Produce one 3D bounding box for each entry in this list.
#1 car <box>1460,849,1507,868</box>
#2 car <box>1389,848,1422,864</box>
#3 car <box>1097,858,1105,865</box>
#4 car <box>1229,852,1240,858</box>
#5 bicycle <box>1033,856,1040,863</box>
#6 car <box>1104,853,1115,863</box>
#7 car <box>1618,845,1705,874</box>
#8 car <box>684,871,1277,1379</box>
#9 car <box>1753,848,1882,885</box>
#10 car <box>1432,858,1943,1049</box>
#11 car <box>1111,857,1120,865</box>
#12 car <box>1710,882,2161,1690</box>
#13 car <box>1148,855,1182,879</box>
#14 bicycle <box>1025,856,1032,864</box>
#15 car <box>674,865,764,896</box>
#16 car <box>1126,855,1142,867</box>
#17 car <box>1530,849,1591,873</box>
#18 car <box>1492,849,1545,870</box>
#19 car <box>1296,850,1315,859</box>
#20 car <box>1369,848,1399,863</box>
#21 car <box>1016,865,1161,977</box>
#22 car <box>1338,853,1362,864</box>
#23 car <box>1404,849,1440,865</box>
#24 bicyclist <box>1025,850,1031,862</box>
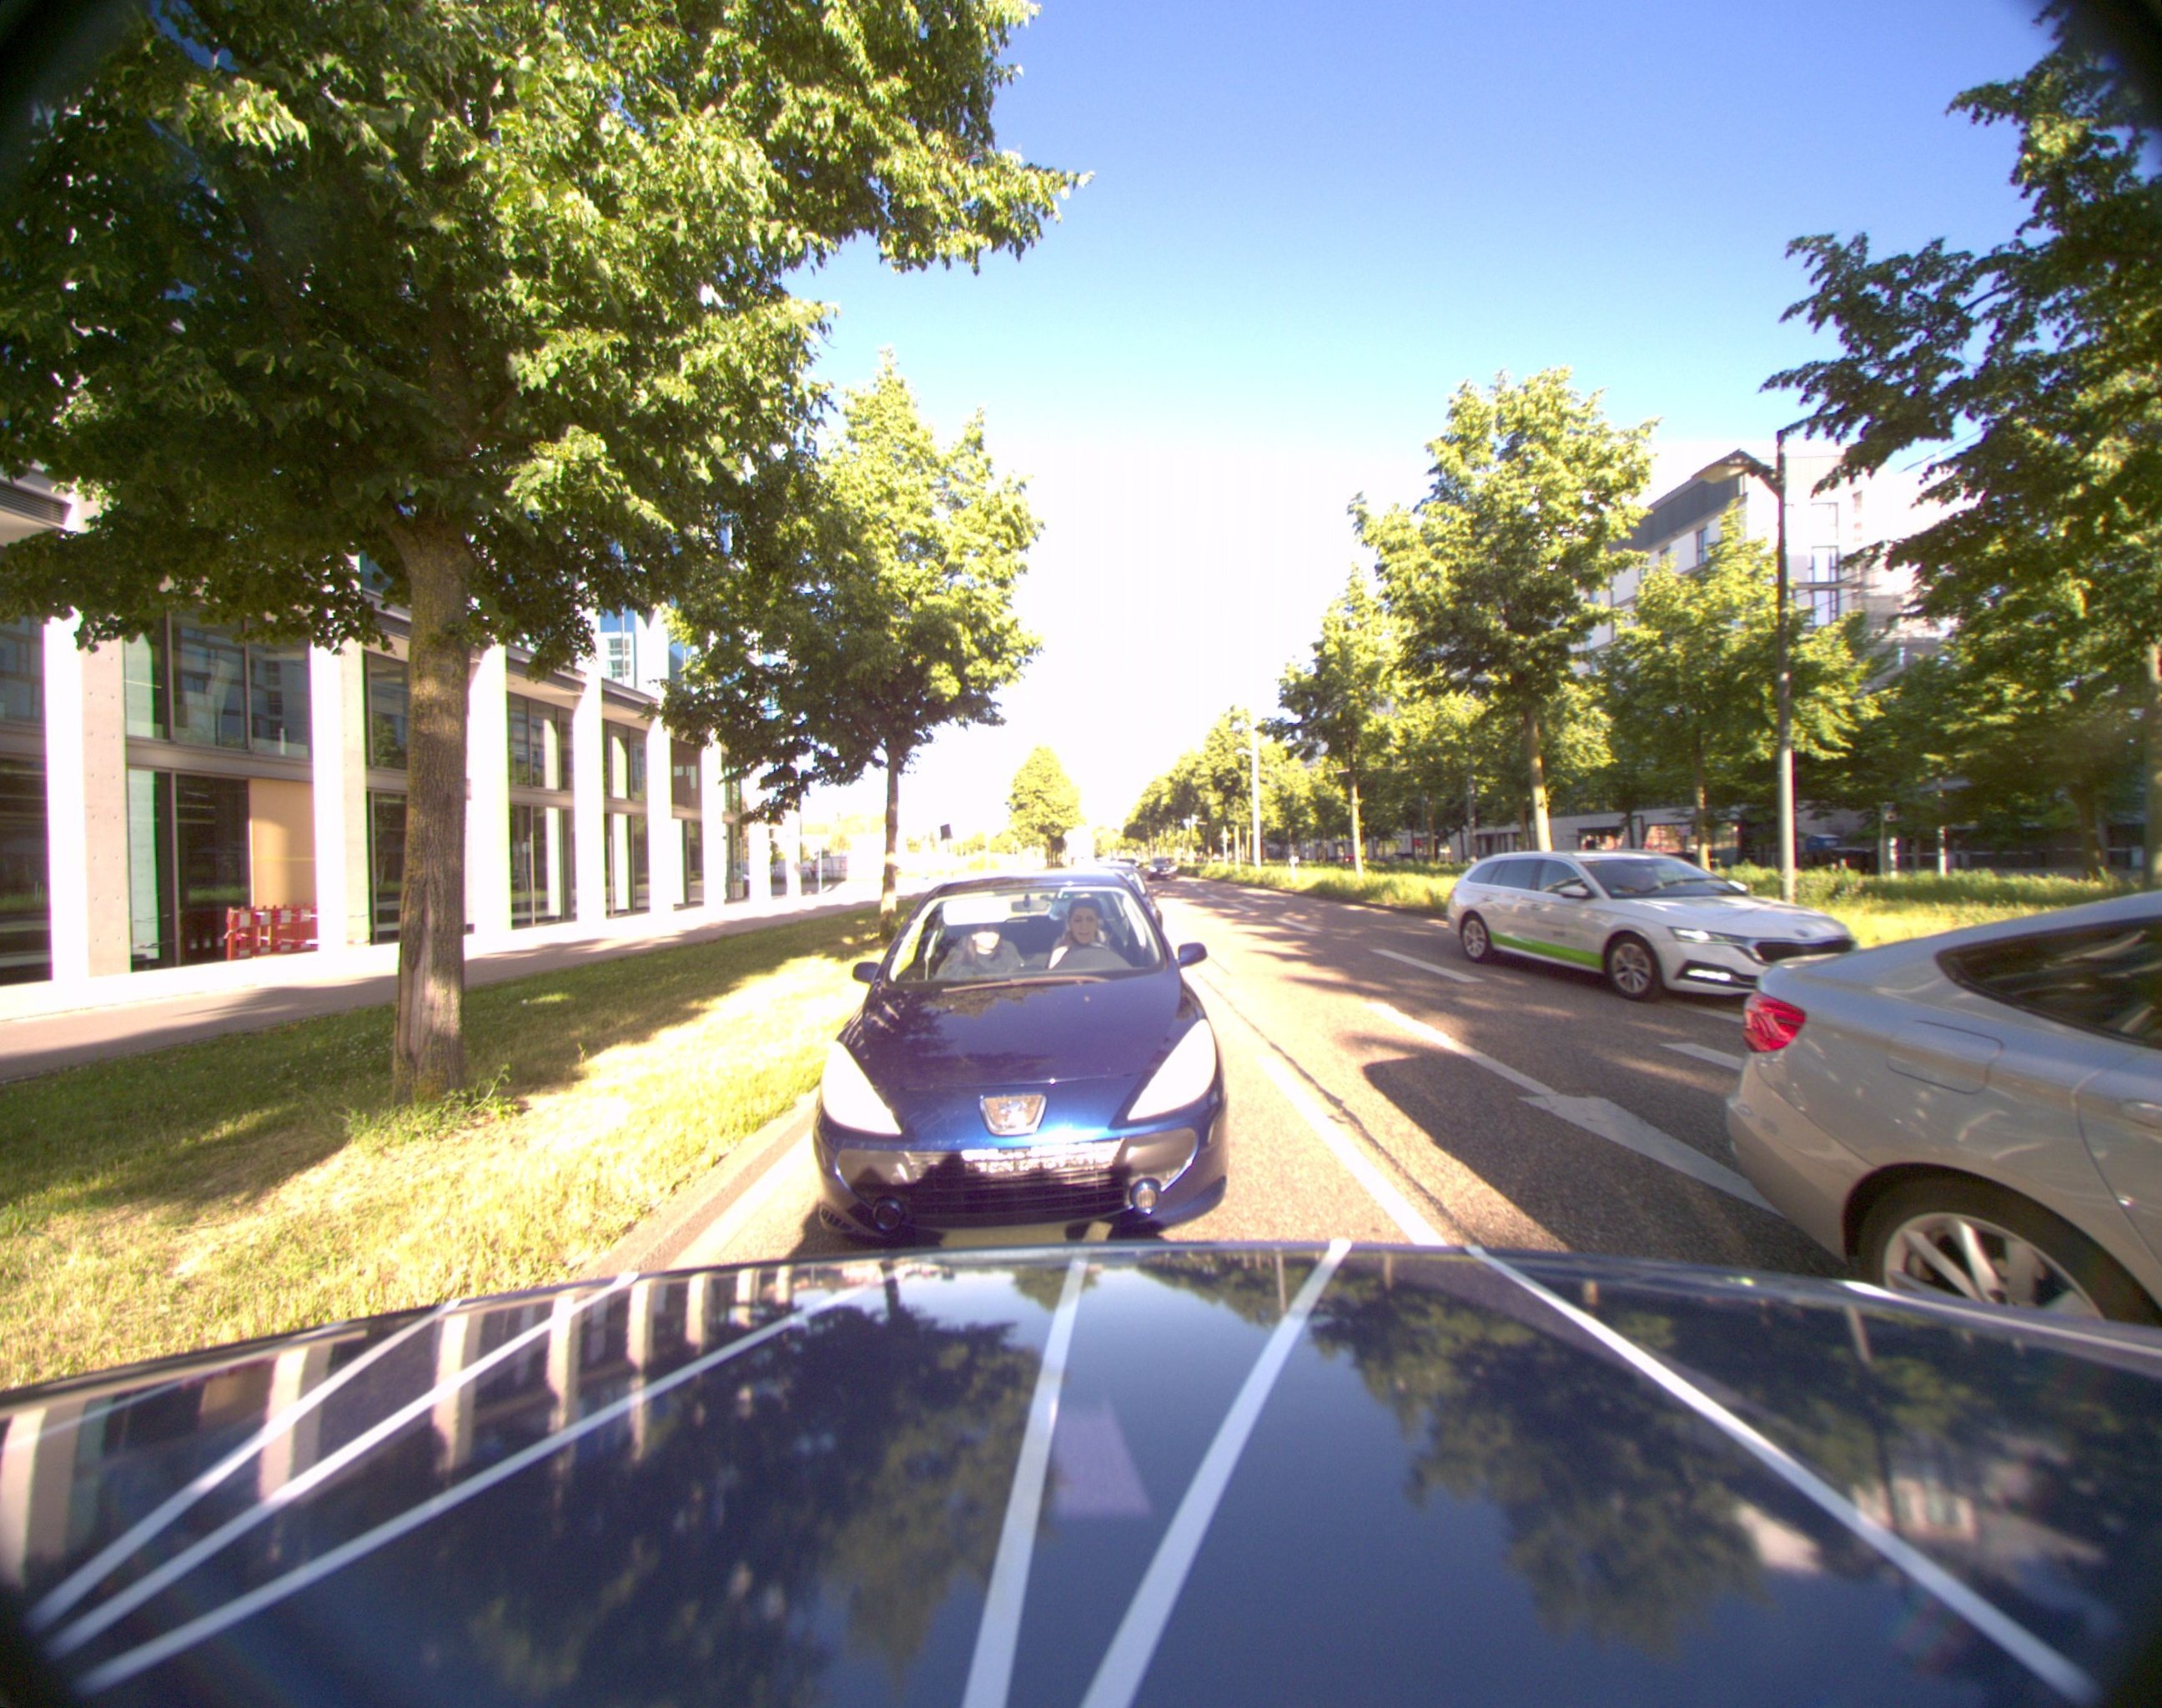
[{"bbox_3d":[35.150,0.387,66.509,1.884,1.588,4.184,-1,0,1],"label":"car"},{"bbox_3d":[35.437,0.225,83.099,1.884,1.588,4.184,-1,0,1],"label":"car"},{"bbox_3d":[4.865,1.885,183.749,1.878,1.561,4.344,-1,0,2],"label":"car"},{"bbox_3d":[36.107,0.222,179.226,1.998,1.387,4.001,-1,0,4],"label":"car"},{"bbox_3d":[-8.359,1.016,142.054,0.931,1.355,4.000,-1,0,1],"label":"bicycle"},{"bbox_3d":[4.669,0.690,124.957,1.724,1.516,4.000,-1,0,1],"label":"car"},{"bbox_3d":[34.173,0.307,44.853,1.951,1.588,4.184,-1,0,1],"label":"car"},{"bbox_3d":[-0.292,0.917,4.660,1.846,1.473,4.481,-2,0,1],"label":"car"},{"bbox_3d":[34.081,0.556,35.346,1.951,1.588,4.184,-1,0,1],"label":"car"},{"bbox_3d":[5.917,0.806,8.346,1.804,1.439,4.567,-1,0,-3],"label":"car"},{"bbox_3d":[7.390,1.395,161.836,1.878,1.577,4.344,-1,0,2],"label":"car"},{"bbox_3d":[2.970,0.849,0.198,1.824,1.476,4.561,-1,0,0],"label":"car"},{"bbox_3d":[5.503,0.827,50.288,1.861,1.482,4.000,-1,0,1],"label":"car"},{"bbox_3d":[-9.569,1.131,137.591,0.931,1.355,4.000,-1,0,1],"label":"bicycle"},{"bbox_3d":[-20.046,1.442,42.143,3.996,1.569,2.000,-1,0,3],"label":"car"},{"bbox_3d":[6.849,0.910,99.037,1.878,1.415,4.344,-1,0,2],"label":"car"},{"bbox_3d":[34.894,0.497,55.414,1.884,1.588,4.184,-1,0,1],"label":"car"},{"bbox_3d":[35.183,0.431,61.226,1.884,1.588,4.184,-1,0,1],"label":"car"},{"bbox_3d":[36.603,0.049,124.148,1.998,1.387,4.000,-1,0,1],"label":"car"},{"bbox_3d":[35.495,0.170,89.019,1.884,1.588,4.184,-1,0,1],"label":"car"},{"bbox_3d":[0.132,0.971,12.930,1.998,1.437,4.622,-1,0,1],"label":"car"},{"bbox_3d":[35.480,0.611,100.417,1.998,1.387,4.001,-1,0,4],"label":"car"},{"bbox_3d":[35.025,0.294,78.191,1.884,1.588,4.184,-1,0,1],"label":"car"},{"bbox_3d":[-9.578,0.371,137.602,0.931,2.045,1.121,-1,1,1],"label":"bicyclist"}]
